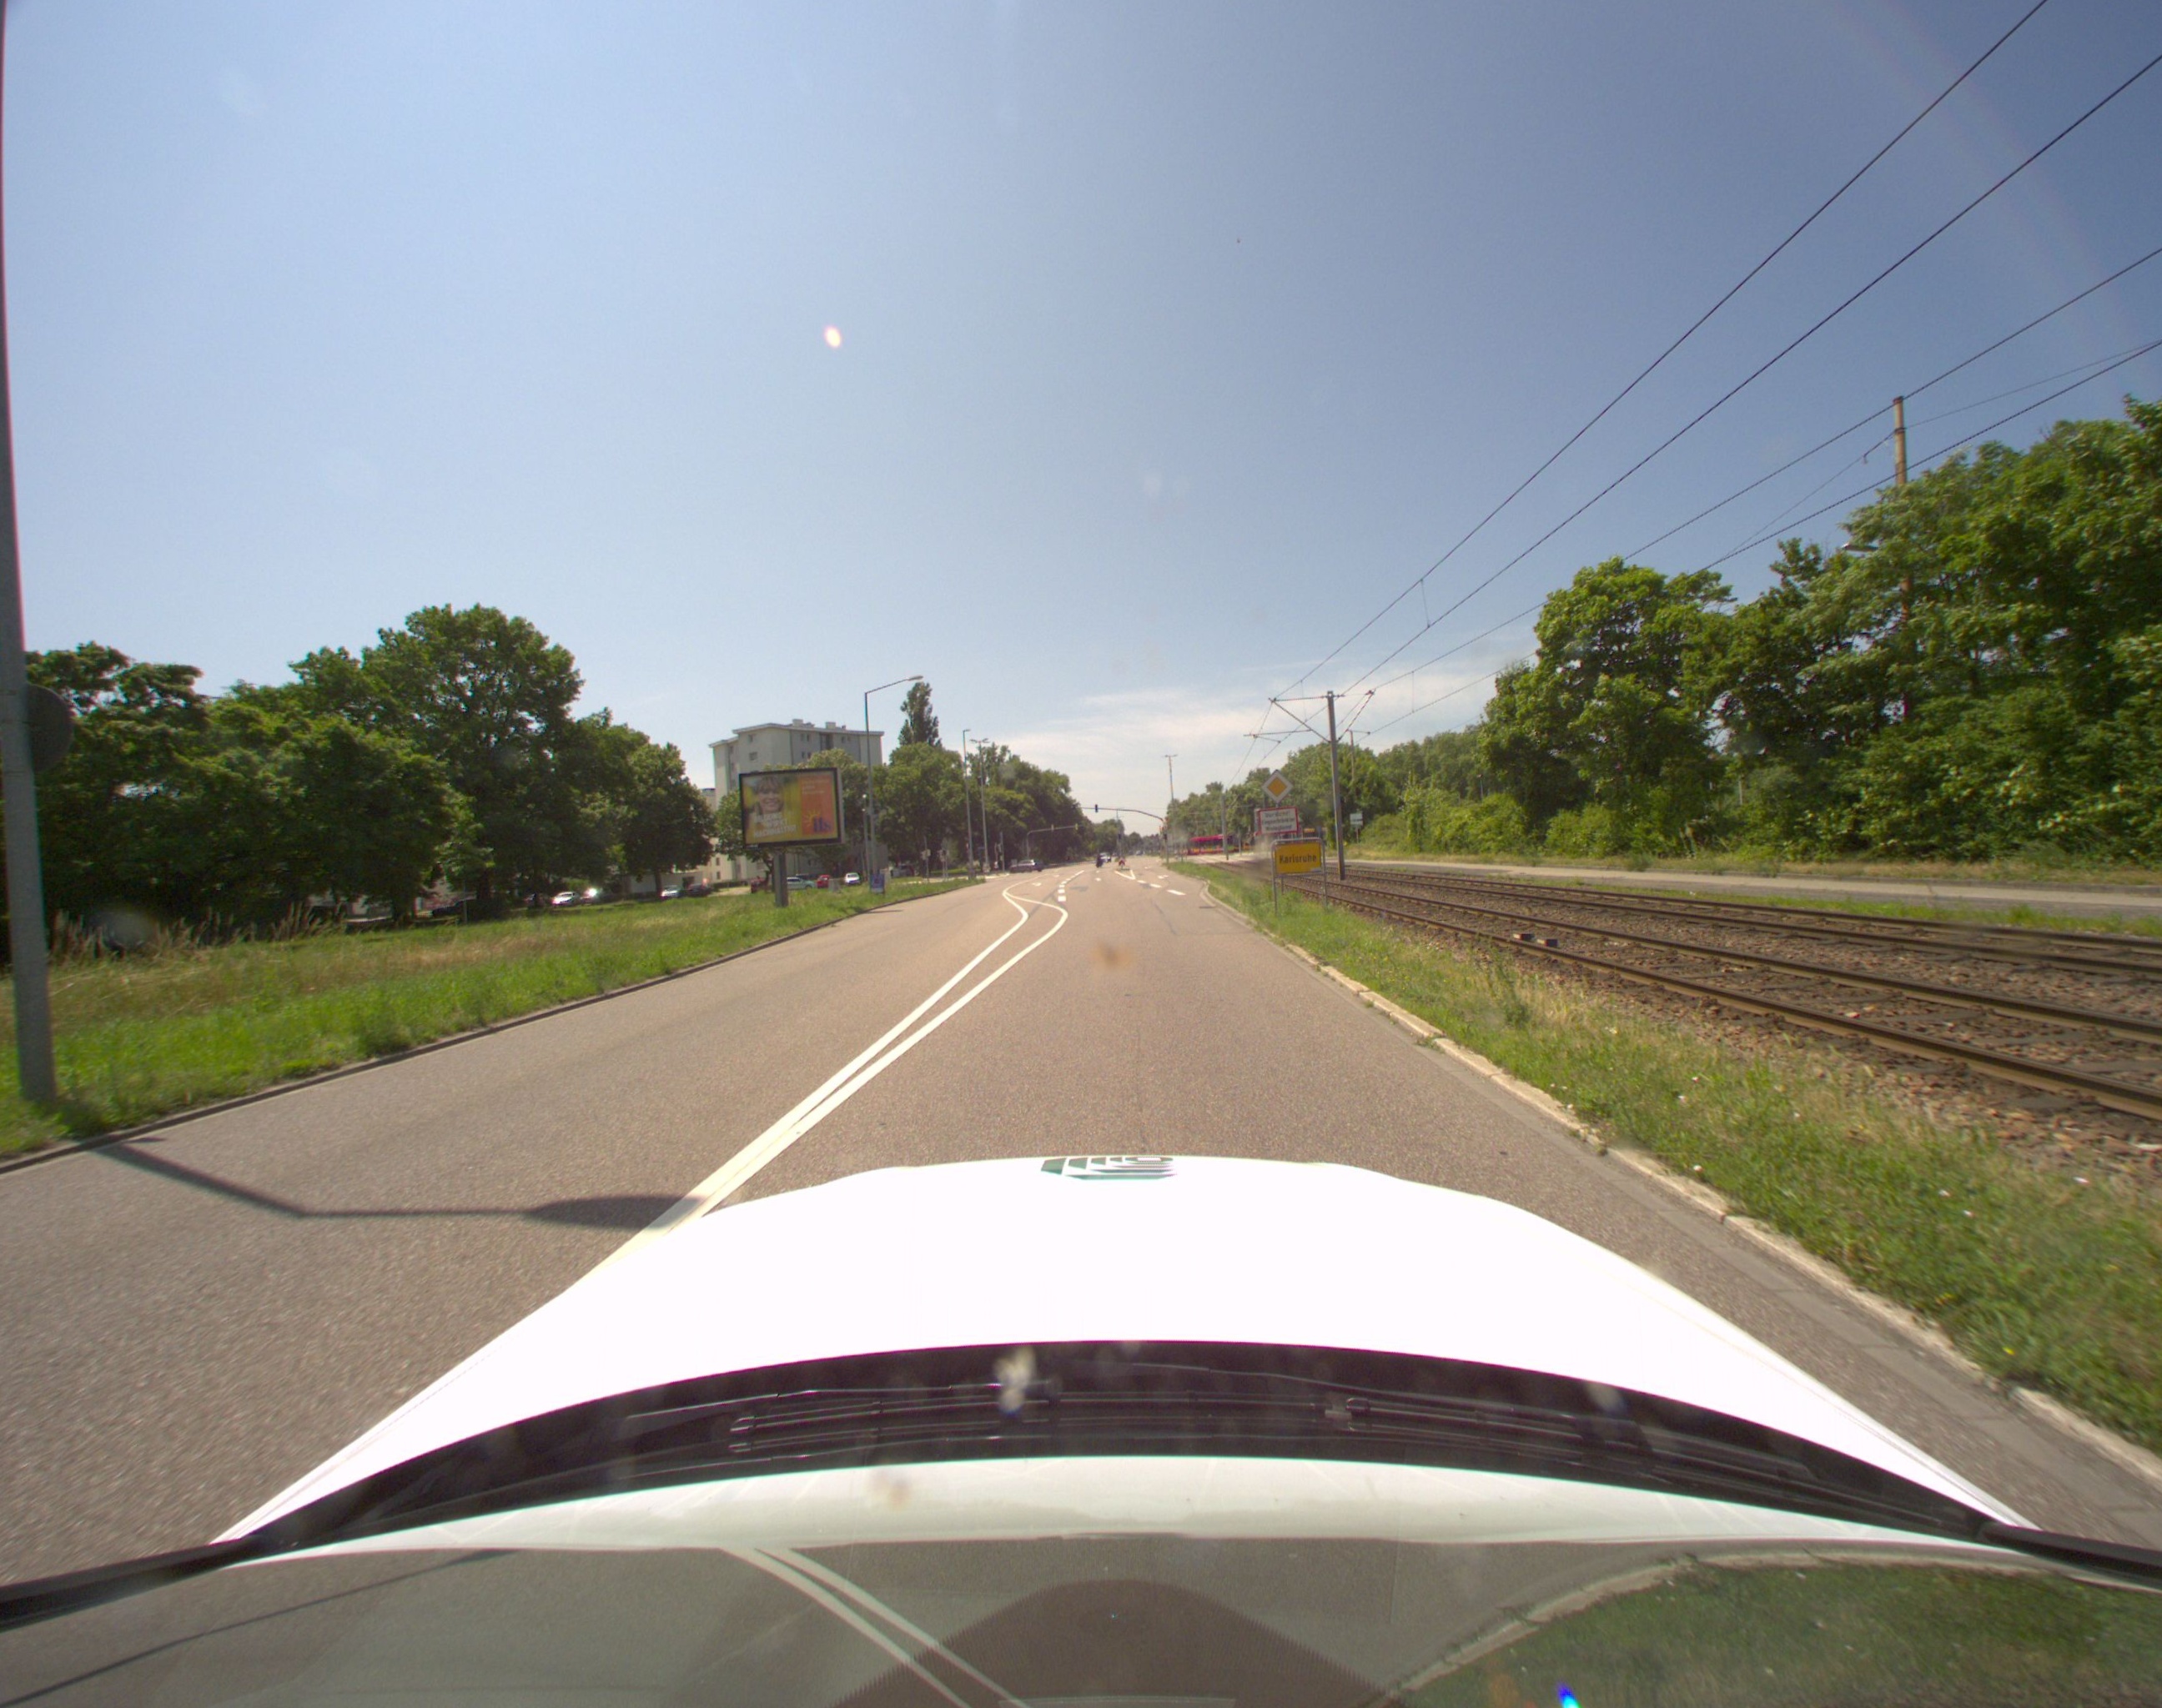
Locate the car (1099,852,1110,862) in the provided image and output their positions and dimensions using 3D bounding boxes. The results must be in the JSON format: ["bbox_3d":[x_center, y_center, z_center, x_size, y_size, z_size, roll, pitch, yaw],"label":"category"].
[{"bbox_3d":[3.911,0.482,135.458,1.703,1.365,3.869,-4,0,4],"label":"car"}]

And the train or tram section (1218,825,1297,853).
[{"bbox_3d":[30.900,-2.545,143.130,13.281,3.812,2.942,-5,-3,33],"label":"train or tram section"}]

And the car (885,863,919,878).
[{"bbox_3d":[-26.692,2.458,121.563,1.769,1.768,4.577,-4,0,43],"label":"car"}]

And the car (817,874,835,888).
[{"bbox_3d":[-29.734,3.165,95.158,1.619,1.464,3.983,-3,0,-13],"label":"car"}]

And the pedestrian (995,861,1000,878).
[{"bbox_3d":[-8.563,1.581,83.399,0.381,1.687,0.486,-4,0,0],"label":"pedestrian"}]

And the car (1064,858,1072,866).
[{"bbox_3d":[-3.501,2.103,219.065,1.987,2.014,4.000,-1,-1,0],"label":"car"}]

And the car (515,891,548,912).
[{"bbox_3d":[-58.106,5.028,86.171,1.852,1.947,3.974,-3,0,-19],"label":"car"}]

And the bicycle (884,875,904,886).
[{"bbox_3d":[-19.653,2.773,85.554,1.870,1.093,0.642,-3,0,-20],"label":"bicycle"}]

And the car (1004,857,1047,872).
[{"bbox_3d":[-6.253,1.207,91.321,4.569,1.499,1.925,-3,0,36],"label":"car"}]

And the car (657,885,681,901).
[{"bbox_3d":[-45.425,4.239,89.865,1.693,1.562,3.814,-4,0,-18],"label":"car"}]

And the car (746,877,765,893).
[{"bbox_3d":[-37.172,3.530,93.108,1.854,1.668,3.971,-4,0,-22],"label":"car"}]

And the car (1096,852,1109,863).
[{"bbox_3d":[3.336,0.549,127.914,1.777,1.628,3.869,-4,0,4],"label":"car"}]

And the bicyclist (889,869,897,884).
[{"bbox_3d":[-19.758,2.334,85.519,0.666,1.537,0.627,-3,0,-19],"label":"bicyclist"}]

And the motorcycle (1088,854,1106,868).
[{"bbox_3d":[1.710,0.726,85.110,0.839,1.255,2.464,-3,0,27],"label":"motorcycle"}]

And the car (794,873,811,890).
[{"bbox_3d":[-32.274,3.149,94.459,1.710,1.800,3.974,-3,0,-19],"label":"car"}]

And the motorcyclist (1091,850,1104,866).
[{"bbox_3d":[1.737,0.426,85.242,0.782,1.643,1.218,-3,0,26],"label":"motorcyclist"}]

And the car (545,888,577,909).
[{"bbox_3d":[-54.970,4.702,86.199,1.852,1.947,3.974,-3,0,-19],"label":"car"}]

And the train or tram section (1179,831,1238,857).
[{"bbox_3d":[23.504,-1.782,151.073,2.933,3.812,12.942,-1,-3,-31],"label":"train or tram section"}]

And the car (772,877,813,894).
[{"bbox_3d":[-29.889,3.228,84.458,3.900,1.468,1.763,-4,0,-22],"label":"car"}]

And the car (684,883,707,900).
[{"bbox_3d":[-43.126,4.185,91.225,1.852,1.711,3.974,-3,0,-19],"label":"car"}]

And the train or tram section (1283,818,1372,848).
[{"bbox_3d":[41.373,-3.444,137.171,13.865,3.919,2.941,-4,-3,27],"label":"train or tram section"}]

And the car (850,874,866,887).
[{"bbox_3d":[-26.512,3.107,96.747,1.629,1.380,3.975,-3,0,-18],"label":"car"}]

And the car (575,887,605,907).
[{"bbox_3d":[-52.186,4.560,86.628,1.852,1.947,3.974,-3,0,-19],"label":"car"}]
